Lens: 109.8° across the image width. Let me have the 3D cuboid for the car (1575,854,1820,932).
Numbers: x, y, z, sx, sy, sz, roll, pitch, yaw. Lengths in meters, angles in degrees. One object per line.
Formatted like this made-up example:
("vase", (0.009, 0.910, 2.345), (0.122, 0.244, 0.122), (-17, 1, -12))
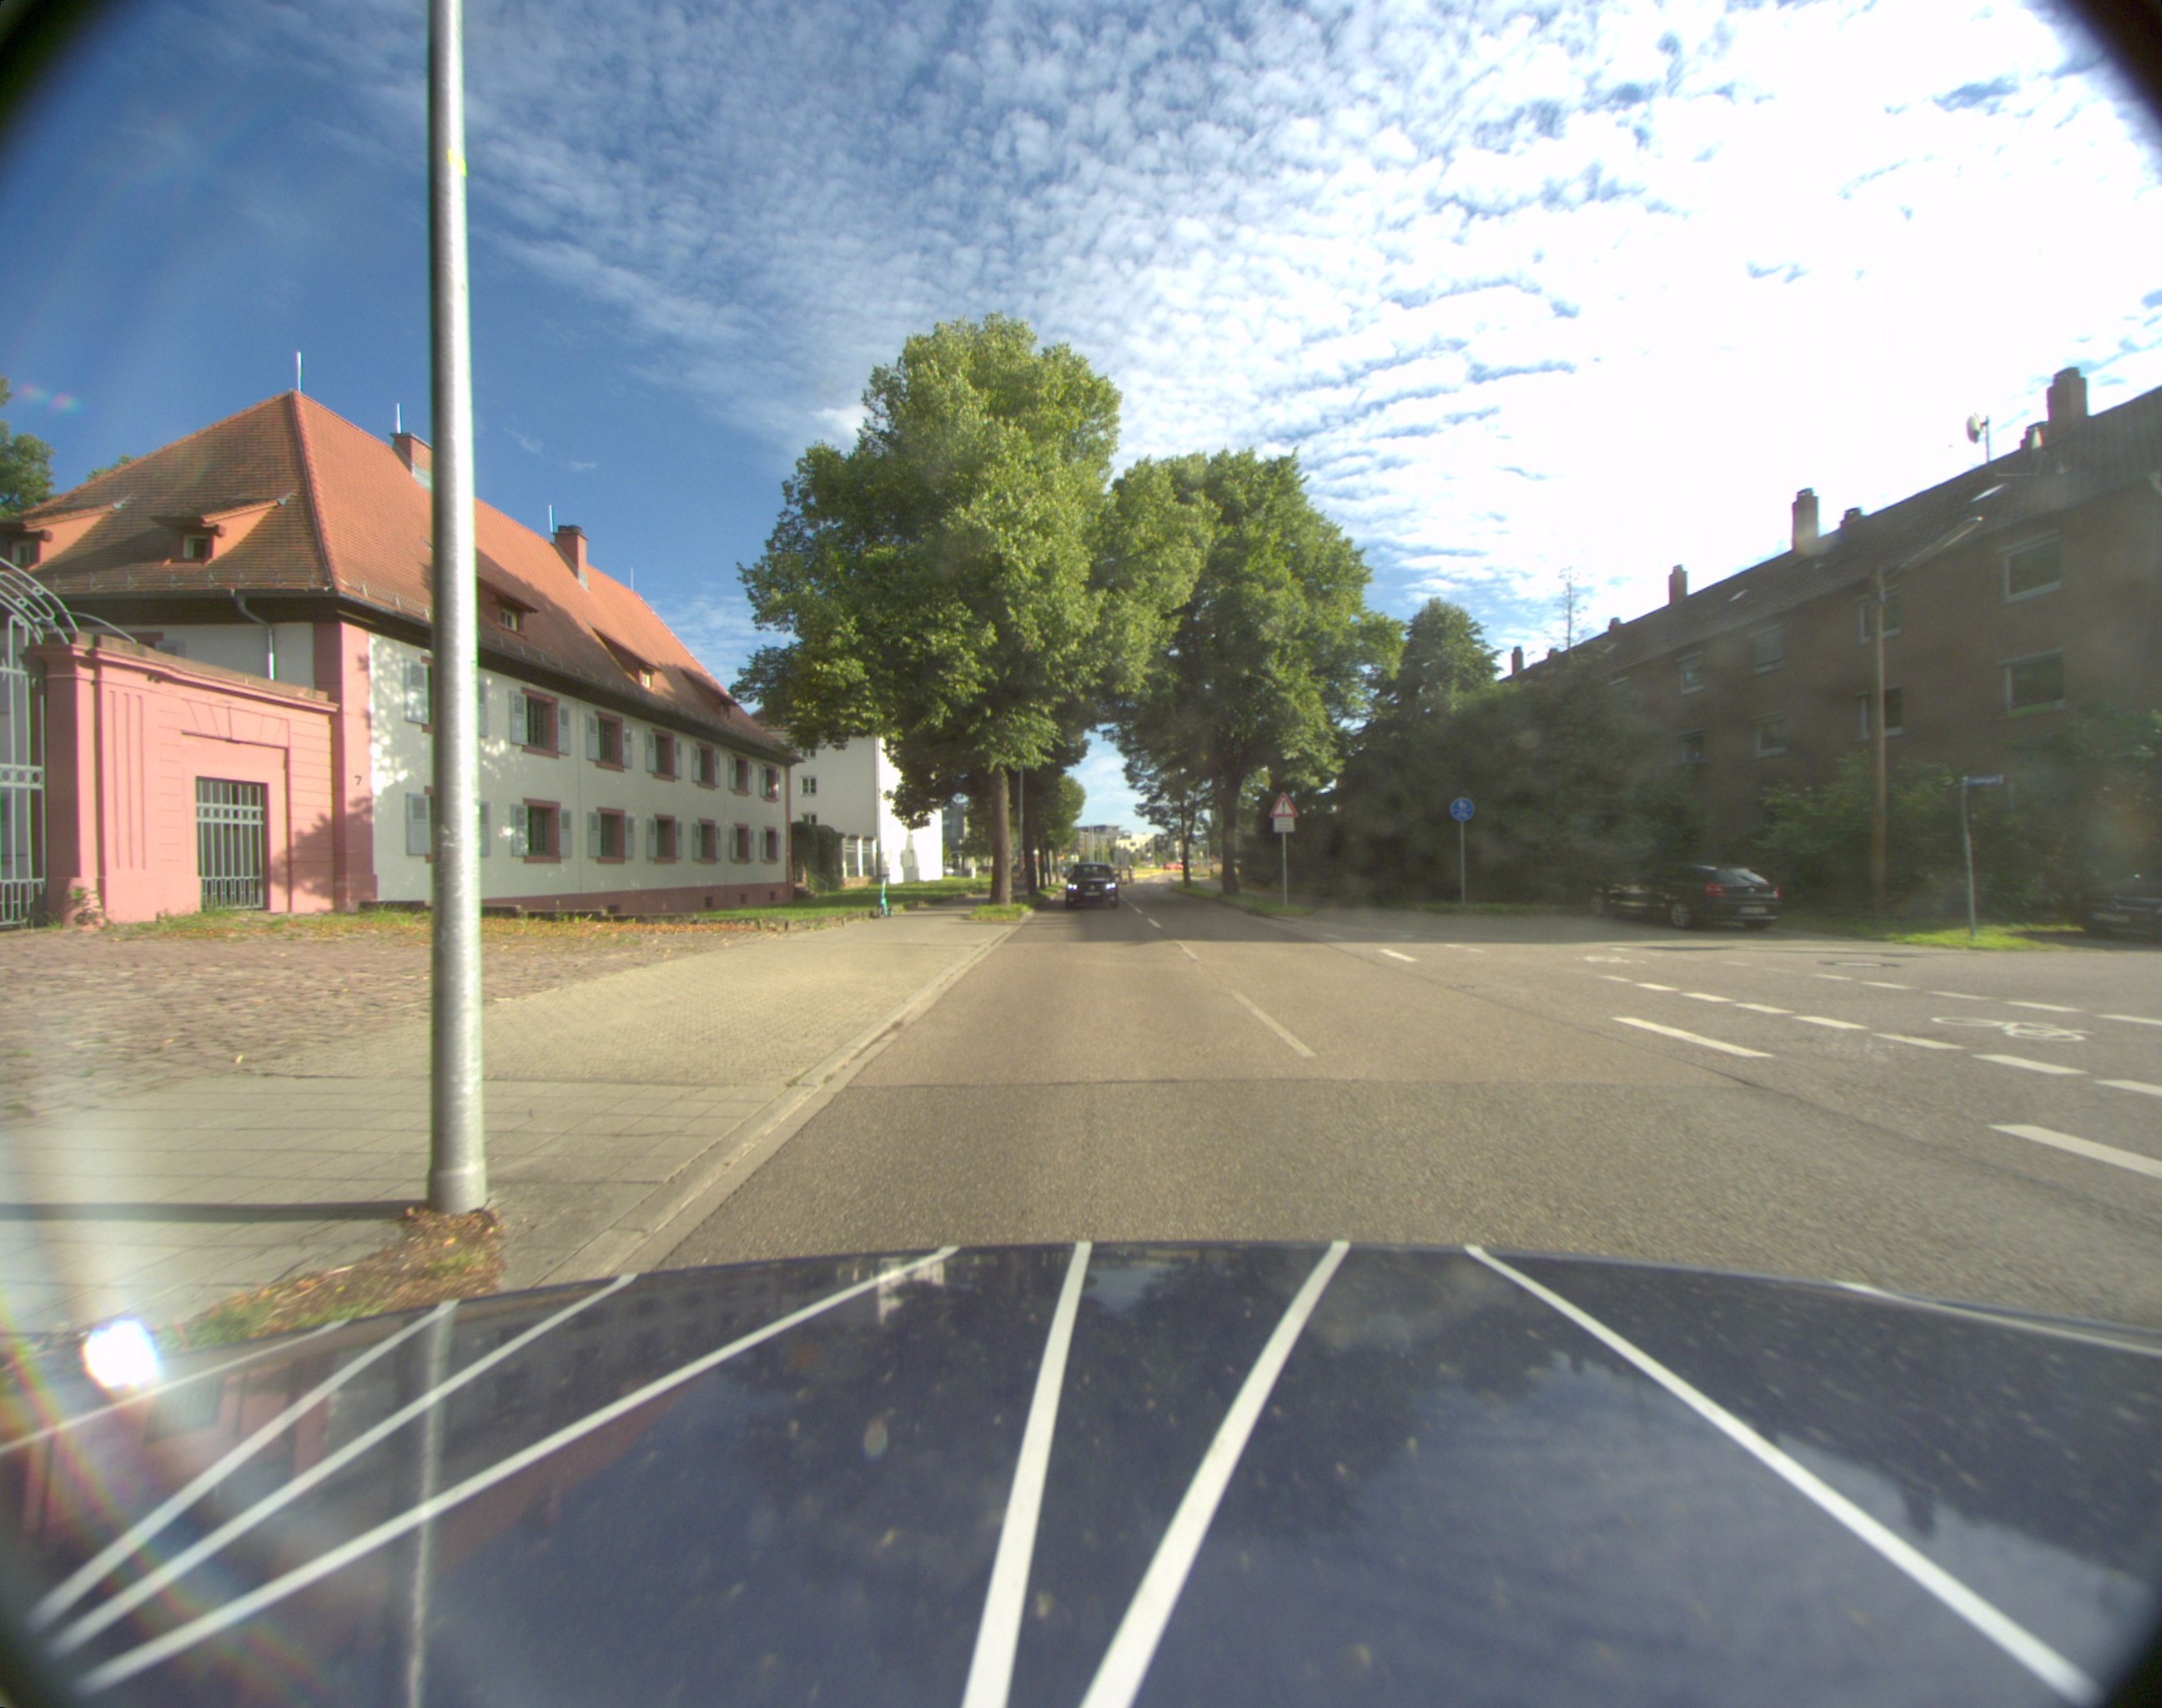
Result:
("car", (13.505, 0.758, 17.100), (1.998, 1.420, 4.507), (-1, 1, 3))

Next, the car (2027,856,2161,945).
("car", (20.127, 0.773, 13.458), (3.996, 1.298, 1.999), (-1, 5, 3))

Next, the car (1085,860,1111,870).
("car", (2.878, 1.831, 129.729), (4.262, 1.477, 1.999), (-2, 0, -5))

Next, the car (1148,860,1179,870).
("car", (14.432, 1.933, 132.394), (4.870, 1.515, 2.303), (-3, 1, -13))

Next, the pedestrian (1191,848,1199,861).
("pedestrian", (16.322, 0.050, 108.636), (0.710, 1.813, 0.744), (-3, 1, -20))

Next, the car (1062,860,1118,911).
("car", (0.377, 1.068, 27.720), (1.821, 1.648, 4.244), (-3, 0, 2))

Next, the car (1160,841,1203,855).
("car", (15.354, -0.940, 116.397), (2.482, 1.856, 6.235), (-3, 1, -43))

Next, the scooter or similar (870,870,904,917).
("scooter or similar", (-5.537, 1.108, 21.751), (0.580, 1.284, 1.381), (1, 0, 2))
